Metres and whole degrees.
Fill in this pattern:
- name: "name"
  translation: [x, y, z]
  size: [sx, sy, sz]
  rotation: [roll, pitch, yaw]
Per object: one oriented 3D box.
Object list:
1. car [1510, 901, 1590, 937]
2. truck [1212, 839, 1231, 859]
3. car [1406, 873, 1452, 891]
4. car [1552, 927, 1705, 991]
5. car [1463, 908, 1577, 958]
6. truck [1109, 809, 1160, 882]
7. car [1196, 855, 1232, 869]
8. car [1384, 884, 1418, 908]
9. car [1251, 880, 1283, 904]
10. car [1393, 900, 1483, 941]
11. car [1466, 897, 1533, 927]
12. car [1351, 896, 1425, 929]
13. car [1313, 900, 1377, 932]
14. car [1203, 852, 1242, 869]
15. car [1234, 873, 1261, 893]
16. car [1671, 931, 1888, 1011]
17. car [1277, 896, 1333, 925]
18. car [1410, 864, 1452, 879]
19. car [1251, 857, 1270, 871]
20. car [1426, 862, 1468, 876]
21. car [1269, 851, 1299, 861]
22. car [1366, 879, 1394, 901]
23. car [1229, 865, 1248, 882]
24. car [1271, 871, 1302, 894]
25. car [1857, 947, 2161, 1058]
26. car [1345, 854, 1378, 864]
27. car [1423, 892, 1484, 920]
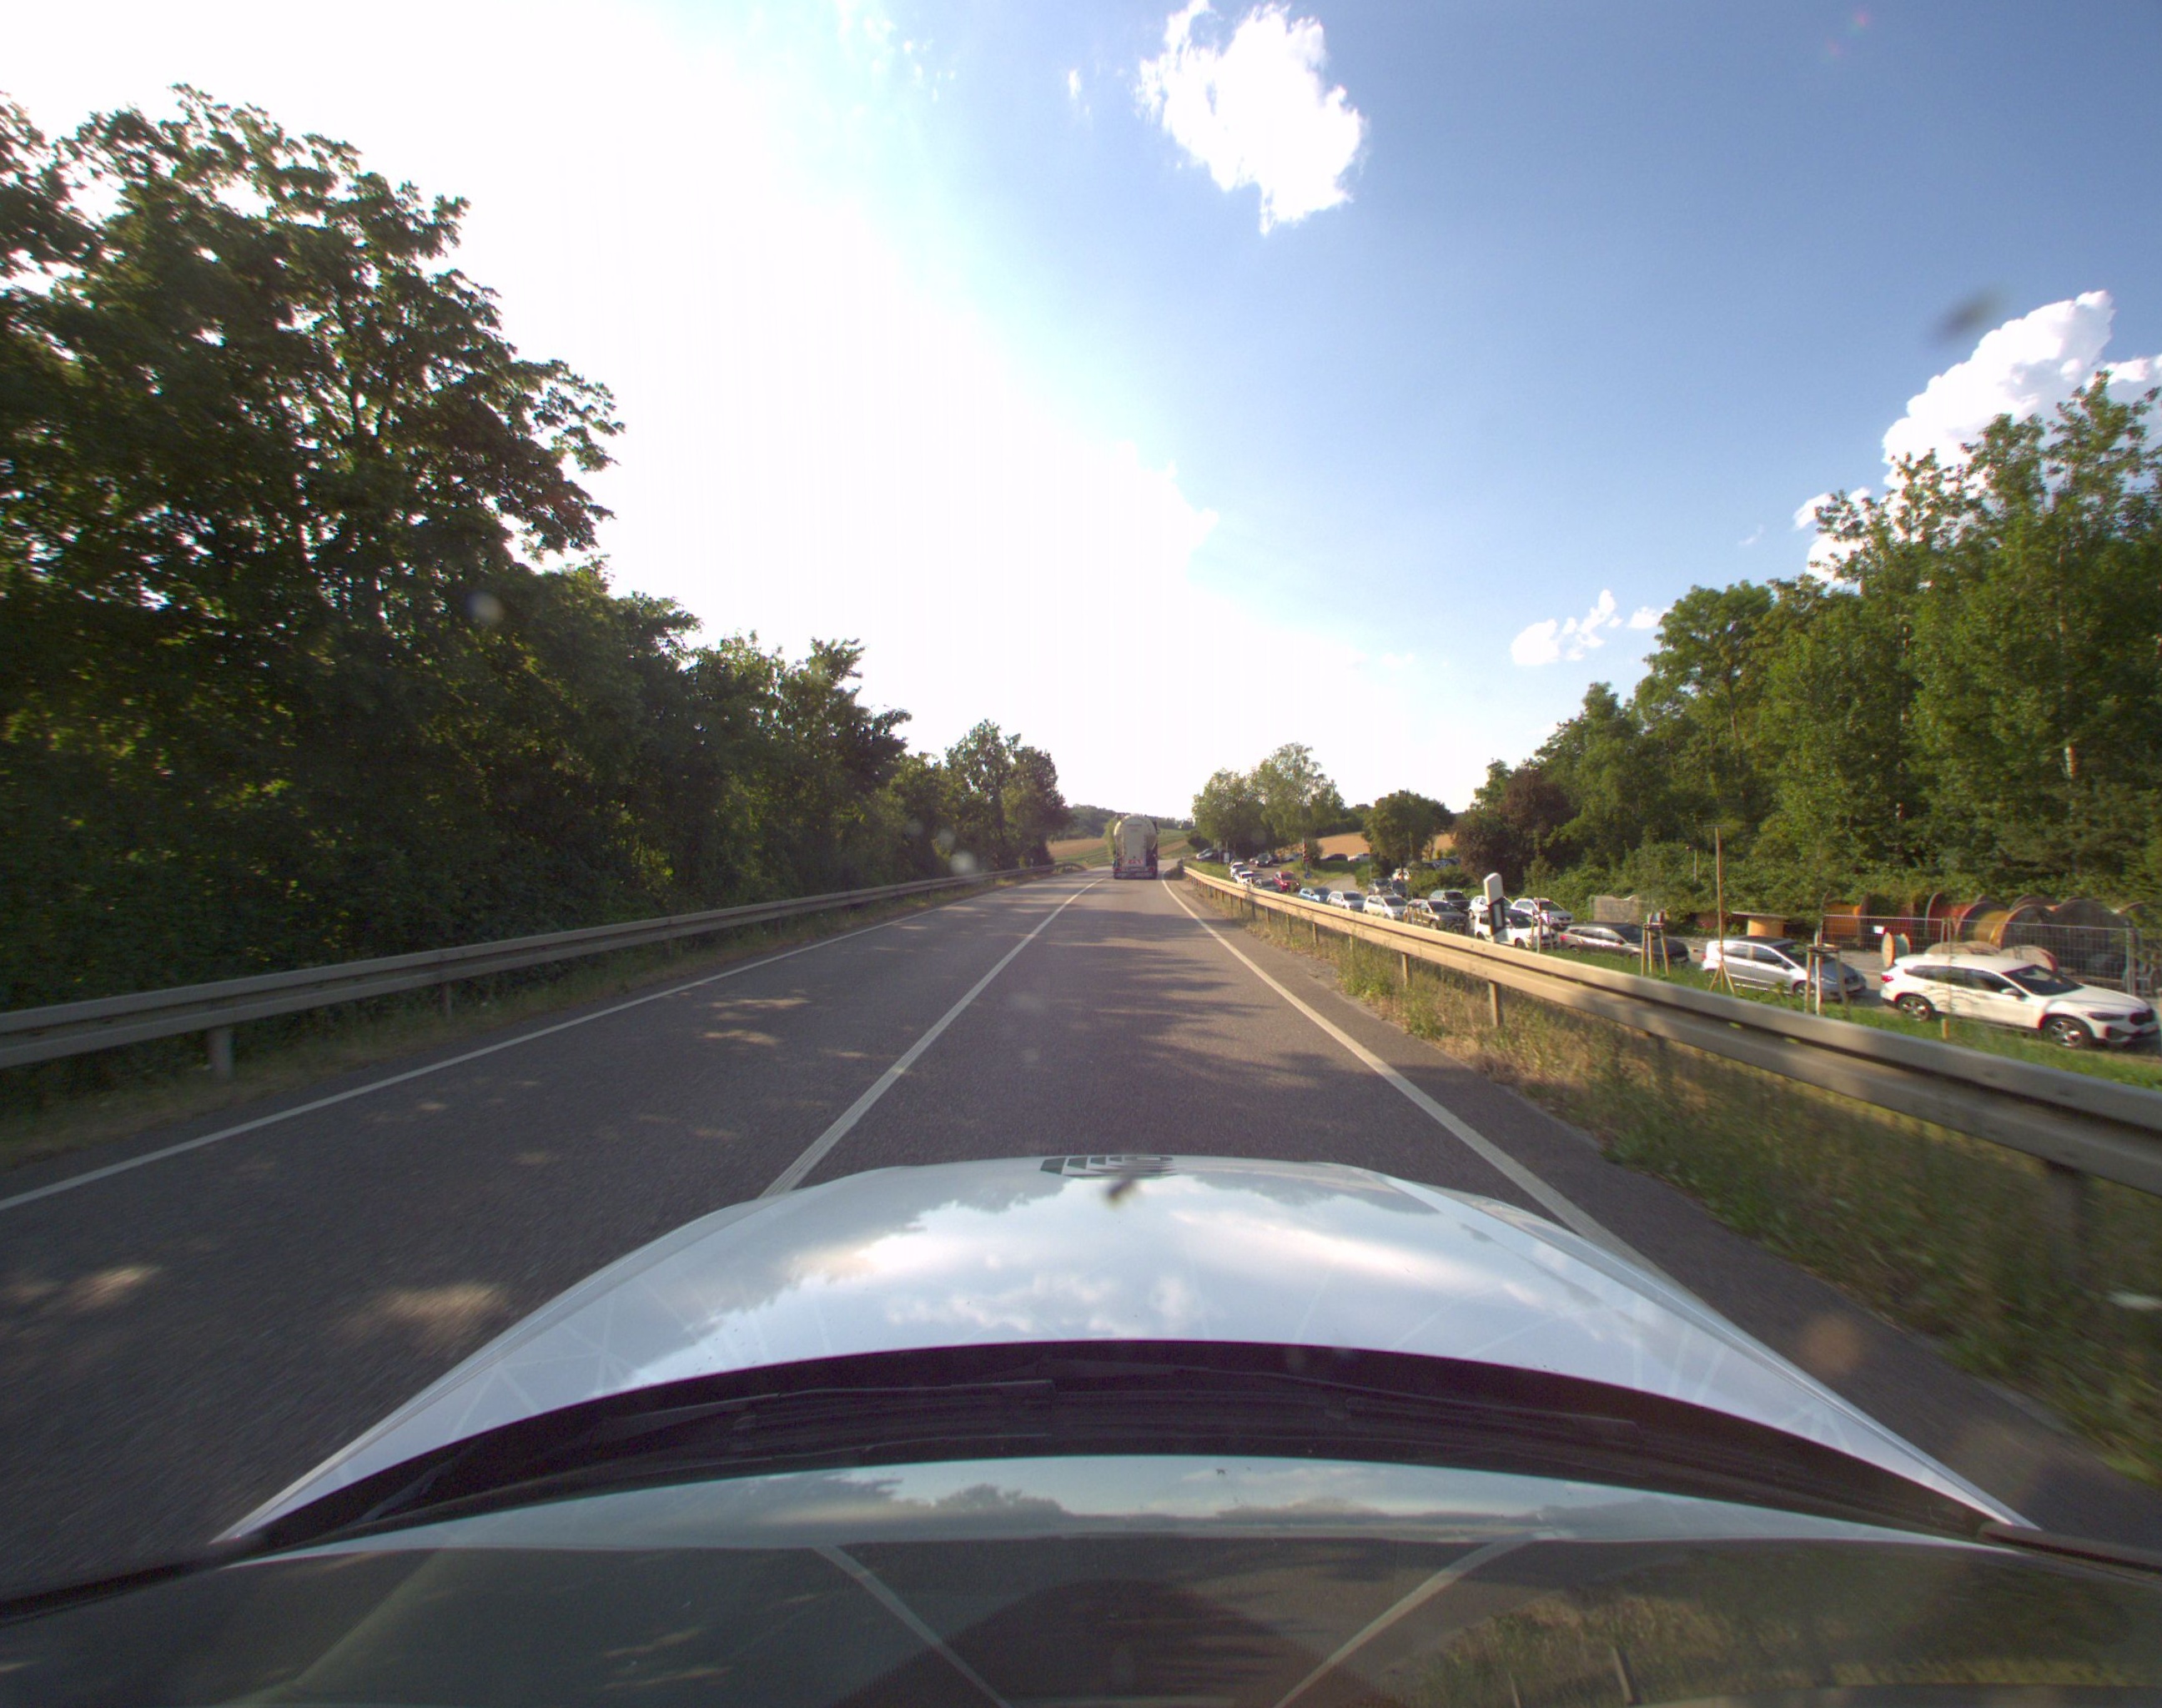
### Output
- name: "car"
  translation: [24.586, 3.384, 42.868]
  size: [1.698, 1.510, 3.939]
  rotation: [-2, 0, -4]
- name: "truck"
  translation: [31.717, -1.269, 183.176]
  size: [3.160, 4.227, 13.223]
  rotation: [-2, 0, 14]
- name: "car"
  translation: [32.741, 2.659, 76.660]
  size: [3.736, 1.543, 1.661]
  rotation: [-1, 0, 15]
- name: "car"
  translation: [20.365, 3.833, 30.582]
  size: [1.893, 1.559, 4.764]
  rotation: [-5, 1, -11]
- name: "car"
  translation: [19.624, 3.489, 36.688]
  size: [1.893, 1.559, 4.764]
  rotation: [-5, 1, -11]
- name: "truck"
  translation: [3.378, -0.504, 53.443]
  size: [2.881, 4.142, 13.181]
  rotation: [-1, 0, 3]
- name: "car"
  translation: [17.126, 1.046, 105.025]
  size: [4.327, 1.509, 1.708]
  rotation: [2, 0, -22]
- name: "car"
  translation: [24.530, 3.191, 62.550]
  size: [1.689, 1.398, 4.803]
  rotation: [-4, 0, 14]
- name: "car"
  translation: [16.212, 3.313, 71.265]
  size: [1.883, 1.559, 4.788]
  rotation: [-5, 1, 4]
- name: "car"
  translation: [18.645, 3.418, 42.842]
  size: [1.893, 1.559, 4.764]
  rotation: [-5, 1, -11]
- name: "car"
  translation: [24.248, 3.338, 47.304]
  size: [1.697, 1.398, 3.942]
  rotation: [-4, 0, -2]
- name: "car"
  translation: [18.294, 3.450, 48.830]
  size: [1.893, 1.559, 4.764]
  rotation: [-2, 1, -11]
- name: "car"
  translation: [17.431, 4.062, 54.049]
  size: [1.893, 1.559, 4.764]
  rotation: [-5, 1, -11]
- name: "car"
  translation: [19.351, 0.818, 111.415]
  size: [5.111, 1.943, 1.980]
  rotation: [4, 1, 8]
- name: "car"
  translation: [16.779, 2.886, 82.213]
  size: [1.883, 1.559, 4.788]
  rotation: [-5, 1, 4]
- name: "car"
  translation: [21.047, 3.441, 24.853]
  size: [1.895, 1.559, 4.759]
  rotation: [-5, 1, -14]
- name: "car"
  translation: [16.281, 4.088, 59.463]
  size: [1.893, 1.559, 4.764]
  rotation: [-5, 1, -11]
- name: "car"
  translation: [43.823, 2.192, 101.906]
  size: [4.537, 1.691, 1.815]
  rotation: [-1, 0, 33]
- name: "car"
  translation: [22.734, 1.318, 103.142]
  size: [1.882, 1.675, 4.791]
  rotation: [-1, -1, 7]
- name: "car"
  translation: [46.229, 1.915, 103.025]
  size: [1.812, 1.691, 4.545]
  rotation: [-1, 0, -37]
- name: "car"
  translation: [28.965, 0.302, 116.032]
  size: [3.726, 1.441, 1.801]
  rotation: [0, 0, -17]
- name: "car"
  translation: [25.115, 3.014, 68.448]
  size: [1.689, 1.398, 4.116]
  rotation: [-4, 1, 14]
- name: "car"
  translation: [18.092, 2.179, 93.514]
  size: [1.880, 1.559, 4.798]
  rotation: [-4, 1, 11]
- name: "car"
  translation: [19.560, 2.714, 77.835]
  size: [1.883, 1.686, 5.092]
  rotation: [-5, 1, 4]
- name: "car"
  translation: [22.070, 3.390, 19.483]
  size: [1.895, 1.559, 4.759]
  rotation: [-5, 1, -14]
- name: "car"
  translation: [41.945, 0.732, 121.937]
  size: [4.653, 1.507, 1.983]
  rotation: [0, 0, -26]
- name: "car"
  translation: [23.906, 3.301, 52.426]
  size: [1.695, 1.398, 4.785]
  rotation: [-4, 0, 1]
